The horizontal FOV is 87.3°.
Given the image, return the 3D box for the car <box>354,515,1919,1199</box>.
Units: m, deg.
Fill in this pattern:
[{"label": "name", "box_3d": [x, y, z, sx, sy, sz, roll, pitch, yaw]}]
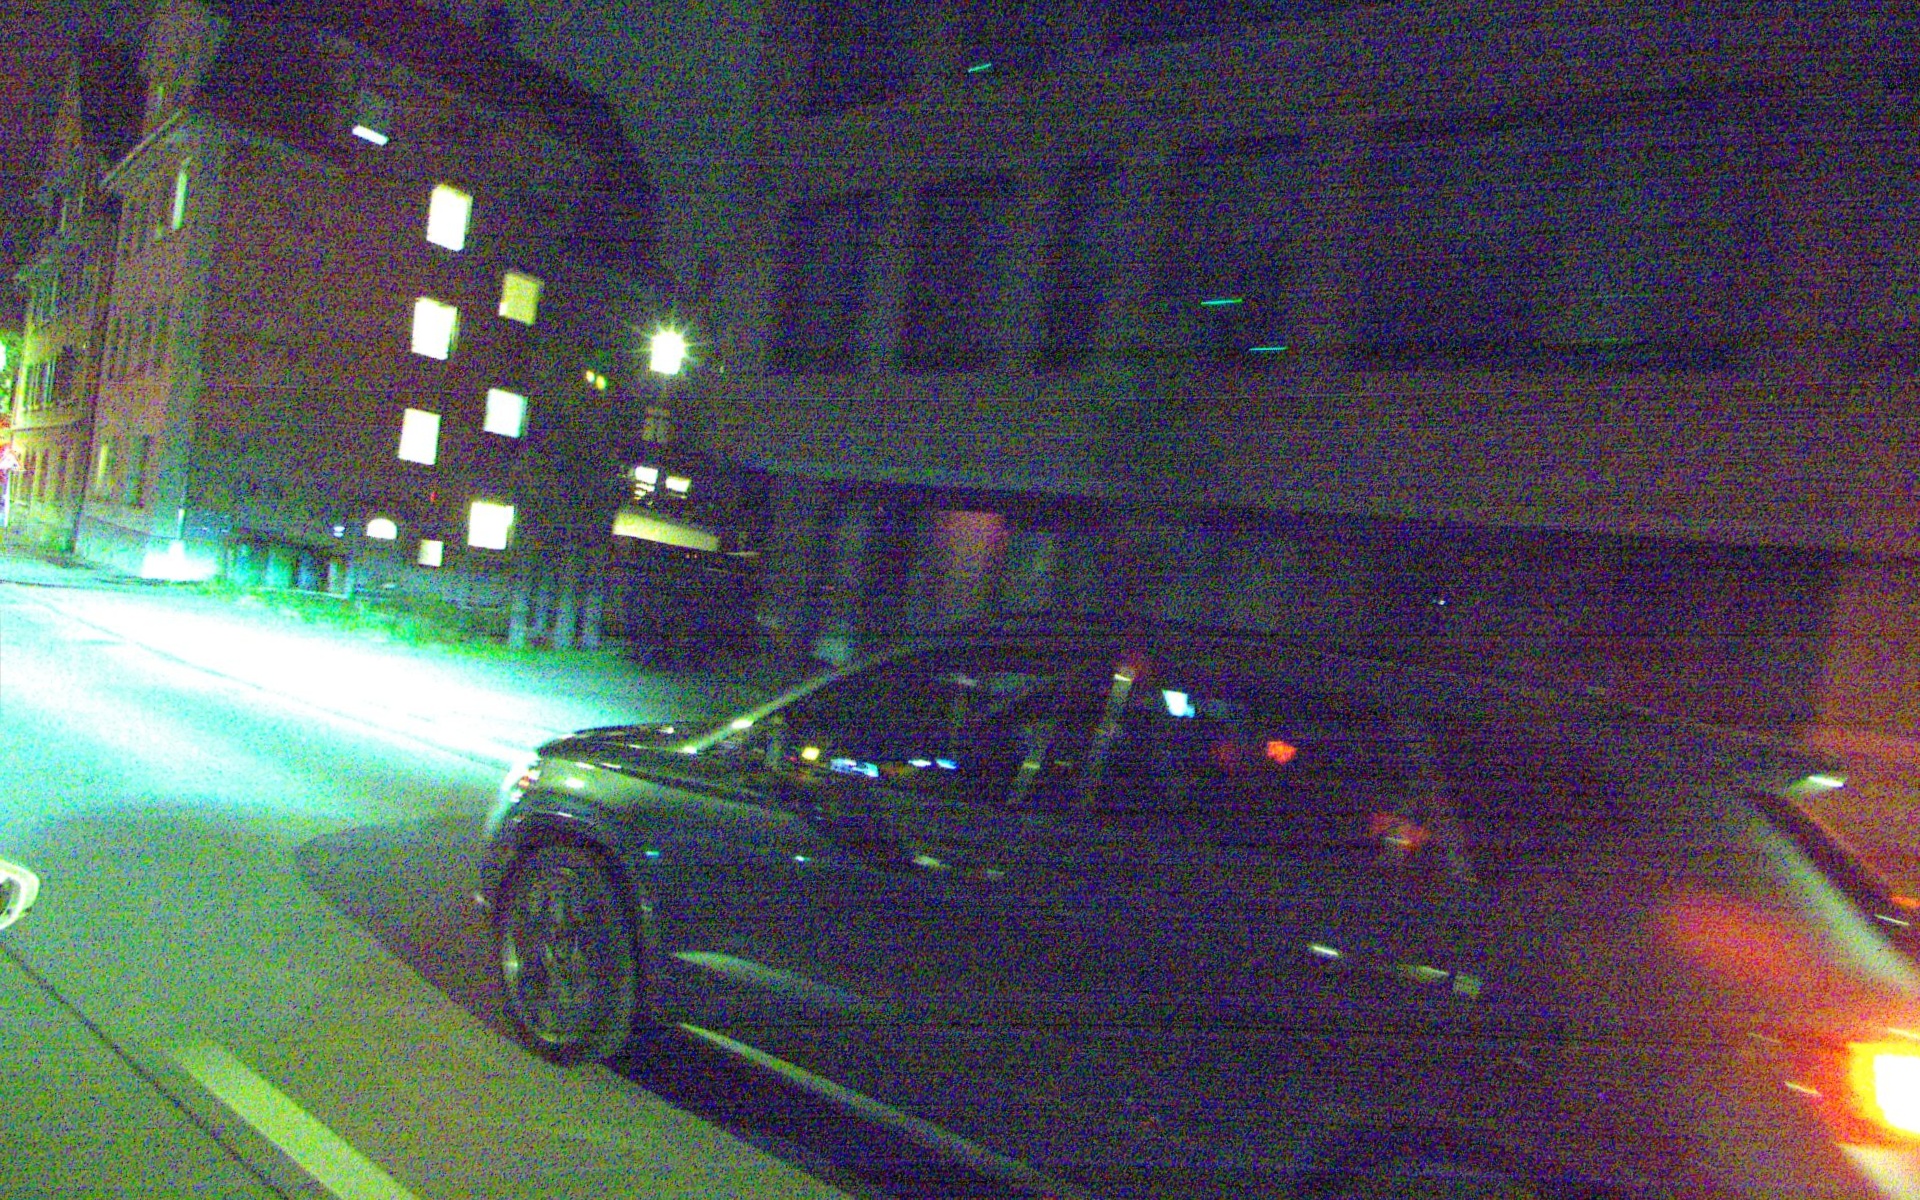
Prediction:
[{"label": "car", "box_3d": [0.120, 0.791, 3.253, 4.159, 1.628, 1.674, 6, -2, 31]}]
